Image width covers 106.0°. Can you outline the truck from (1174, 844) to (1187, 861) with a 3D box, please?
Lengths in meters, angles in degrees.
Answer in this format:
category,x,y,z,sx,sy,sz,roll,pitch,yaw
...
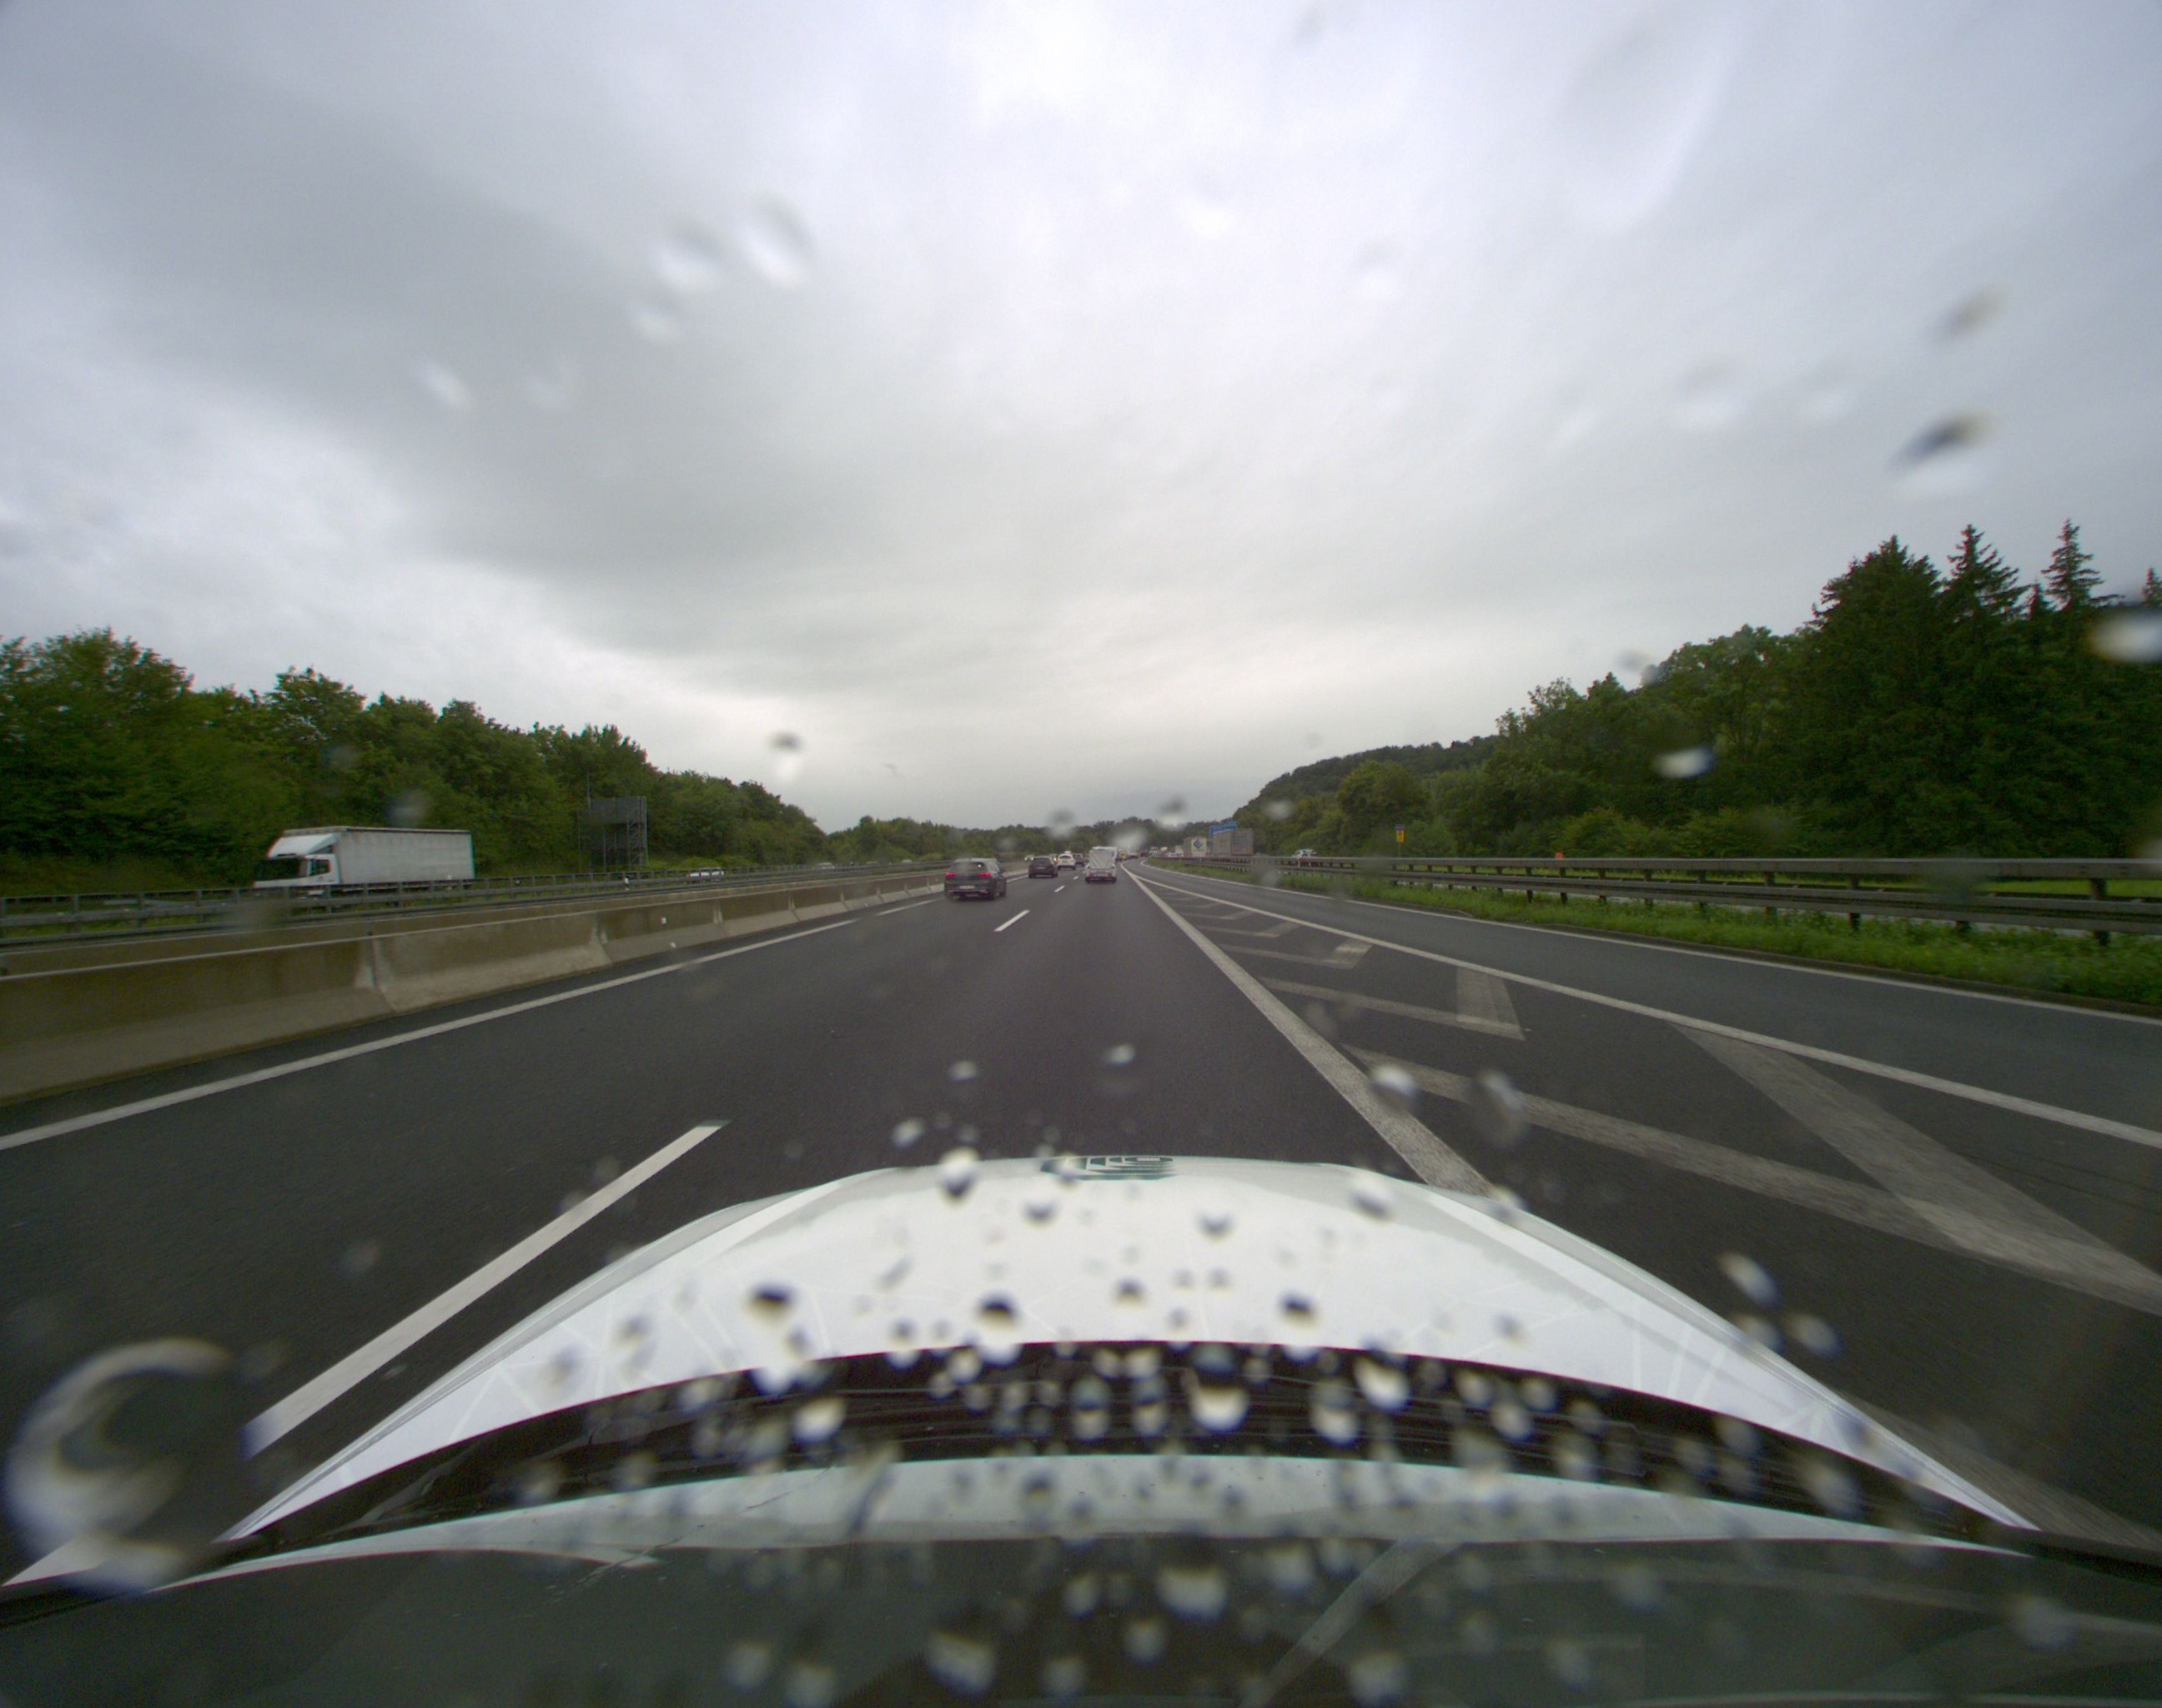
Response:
category,x,y,z,sx,sy,sz,roll,pitch,yaw
truck,29.043,-0.417,237.974,3.643,4.666,13.057,0,0,7

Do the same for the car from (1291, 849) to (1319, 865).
category,x,y,z,sx,sy,sz,roll,pitch,yaw
car,21.451,0.321,78.190,1.670,1.456,4.000,0,0,1

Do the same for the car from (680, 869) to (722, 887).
category,x,y,z,sx,sy,sz,roll,pitch,yaw
car,-32.832,2.028,70.436,1.669,1.456,4.002,0,0,2

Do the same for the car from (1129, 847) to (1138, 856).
category,x,y,z,sx,sy,sz,roll,pitch,yaw
car,16.222,-0.765,250.960,2.504,2.574,5.318,0,0,4

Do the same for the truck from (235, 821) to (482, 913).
category,x,y,z,sx,sy,sz,roll,pitch,yaw
truck,-34.211,0.596,39.392,3.062,3.879,9.640,0,0,2

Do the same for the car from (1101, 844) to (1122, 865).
category,x,y,z,sx,sy,sz,roll,pitch,yaw
car,3.938,0.105,105.155,2.496,2.585,5.706,0,0,4

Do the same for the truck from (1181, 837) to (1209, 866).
category,x,y,z,sx,sy,sz,roll,pitch,yaw
truck,19.114,-0.410,137.175,3.203,4.666,13.037,0,0,2

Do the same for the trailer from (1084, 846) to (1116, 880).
category,x,y,z,sx,sy,sz,roll,pitch,yaw
trailer,1.100,0.498,45.754,1.669,1.812,4.002,0,0,2

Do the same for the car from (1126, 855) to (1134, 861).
category,x,y,z,sx,sy,sz,roll,pitch,yaw
car,13.677,1.039,226.705,2.026,1.683,4.009,0,0,8

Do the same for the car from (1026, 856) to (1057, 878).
category,x,y,z,sx,sy,sz,roll,pitch,yaw
car,-2.705,0.878,56.576,1.758,1.456,4.002,0,0,2

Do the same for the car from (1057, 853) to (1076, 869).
category,x,y,z,sx,sy,sz,roll,pitch,yaw
car,-1.460,0.733,83.916,1.769,1.640,4.045,0,0,2

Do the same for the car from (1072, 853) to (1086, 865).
category,x,y,z,sx,sy,sz,roll,pitch,yaw
car,-0.242,0.688,110.428,1.769,1.640,4.045,0,0,2

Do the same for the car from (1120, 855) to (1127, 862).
category,x,y,z,sx,sy,sz,roll,pitch,yaw
car,11.222,1.103,213.493,1.668,1.812,4.004,0,0,4

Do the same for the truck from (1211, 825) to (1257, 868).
category,x,y,z,sx,sy,sz,roll,pitch,yaw
truck,17.850,-0.762,96.161,3.204,4.666,13.033,0,0,1

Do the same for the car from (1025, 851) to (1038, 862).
category,x,y,z,sx,sy,sz,roll,pitch,yaw
car,-9.552,0.533,158.486,1.986,2.014,4.984,0,0,2

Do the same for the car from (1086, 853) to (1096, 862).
category,x,y,z,sx,sy,sz,roll,pitch,yaw
car,1.878,0.741,156.876,1.768,1.640,4.046,0,0,3

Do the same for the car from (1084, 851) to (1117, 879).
category,x,y,z,sx,sy,sz,roll,pitch,yaw
car,1.232,0.642,49.236,1.811,1.616,4.782,0,0,3

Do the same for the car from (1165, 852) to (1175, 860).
category,x,y,z,sx,sy,sz,roll,pitch,yaw
car,16.579,0.296,152.162,1.668,1.456,4.005,0,0,5

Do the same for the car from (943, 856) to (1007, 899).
category,x,y,z,sx,sy,sz,roll,pitch,yaw
car,-3.740,0.807,29.389,1.669,1.456,4.002,0,0,2

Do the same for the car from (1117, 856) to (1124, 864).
category,x,y,z,sx,sy,sz,roll,pitch,yaw
car,9.024,1.439,185.602,1.668,1.812,4.004,0,0,4

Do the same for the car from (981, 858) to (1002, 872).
category,x,y,z,sx,sy,sz,roll,pitch,yaw
car,-9.822,1.211,89.611,1.749,1.456,4.420,0,0,2
